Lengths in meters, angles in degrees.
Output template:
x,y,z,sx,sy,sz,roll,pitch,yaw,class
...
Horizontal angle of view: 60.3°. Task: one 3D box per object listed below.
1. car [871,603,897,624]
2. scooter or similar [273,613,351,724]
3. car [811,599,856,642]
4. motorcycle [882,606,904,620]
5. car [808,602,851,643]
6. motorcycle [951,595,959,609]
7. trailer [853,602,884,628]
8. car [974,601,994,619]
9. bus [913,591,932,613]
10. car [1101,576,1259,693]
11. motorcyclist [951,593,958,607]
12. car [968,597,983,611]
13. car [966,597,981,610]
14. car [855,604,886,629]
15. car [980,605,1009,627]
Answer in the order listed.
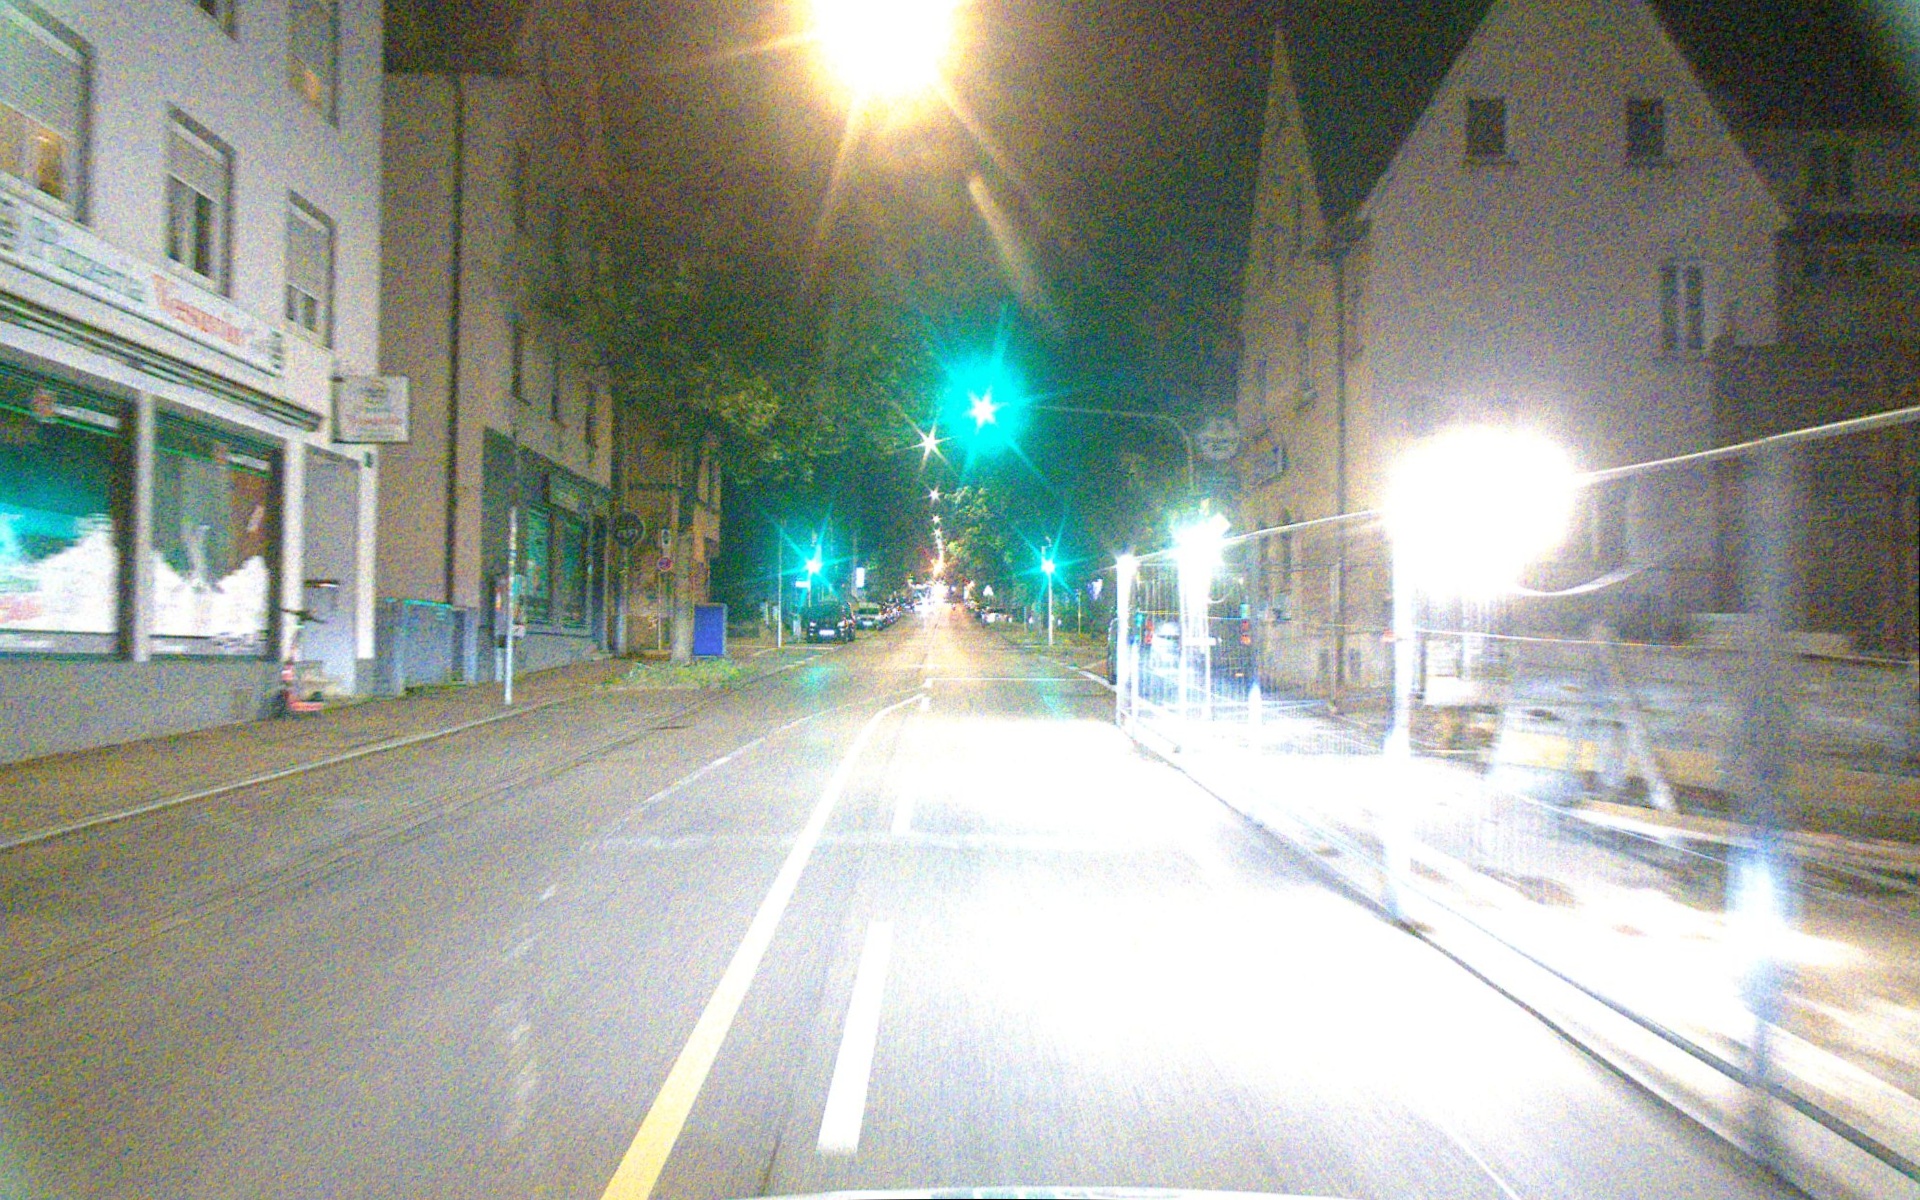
x,y,z,sx,sy,sz,roll,pitch,yaw,class
-5.815,1.033,126.933,1.826,1.518,4.279,1,-1,-1,car
-7.598,0.782,19.426,0.324,1.247,1.335,1,-1,1,scooter or similar
-5.419,0.856,71.024,1.812,1.679,4.668,1,0,-4,car
-5.794,1.095,143.660,0.710,1.167,2.174,0,1,-42,motorcycle
-5.113,0.884,65.056,1.615,1.541,3.699,1,-1,-4,car
-0.653,0.240,206.697,0.912,1.783,2.624,1,-1,0,motorcycle
-5.920,0.989,107.410,1.603,1.668,3.440,1,-1,4,trailer
2.253,0.930,154.769,1.727,1.502,4.080,-1,1,0,car
-5.744,0.318,254.421,2.780,3.233,10.497,1,0,-1,bus
3.702,0.559,28.678,1.873,1.859,4.897,0,0,-3,car
-0.650,0.021,206.670,0.831,1.783,0.805,1,-1,-1,motorcyclist
1.928,0.473,203.764,1.775,1.622,4.273,-1,1,-1,car
1.724,0.427,216.937,1.830,1.553,4.149,-1,1,-1,car
-5.543,1.033,102.751,1.778,1.510,4.346,1,0,-2,car
2.436,1.111,116.329,1.808,1.442,4.644,-3,-1,-1,car
